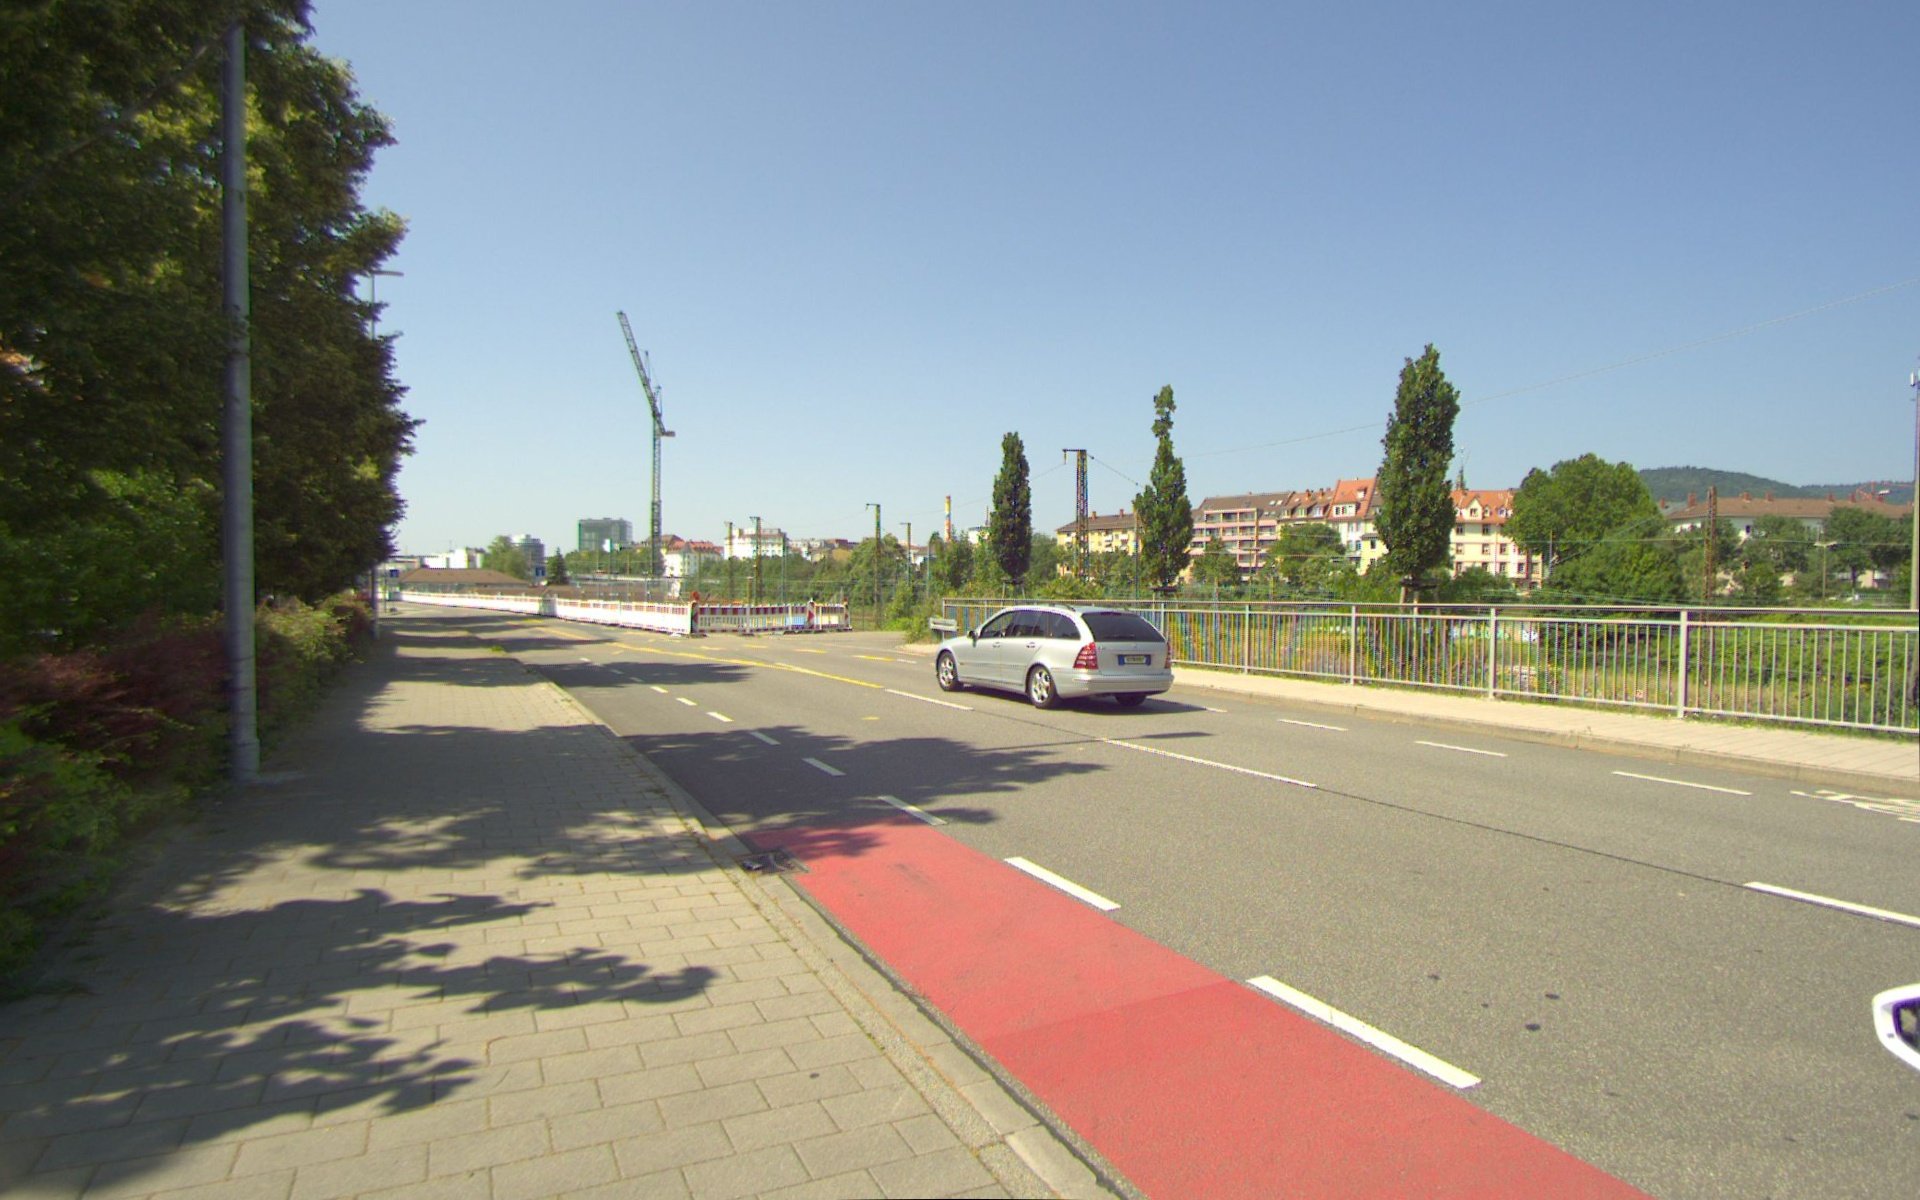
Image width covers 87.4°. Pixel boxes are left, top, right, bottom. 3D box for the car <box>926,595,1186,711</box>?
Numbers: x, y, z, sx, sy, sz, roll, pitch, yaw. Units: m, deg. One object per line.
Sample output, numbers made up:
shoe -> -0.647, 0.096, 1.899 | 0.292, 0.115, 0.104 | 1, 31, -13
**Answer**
car -> 1.211, 0.660, 14.756 | 1.693, 1.422, 4.354 | 1, 0, -28
